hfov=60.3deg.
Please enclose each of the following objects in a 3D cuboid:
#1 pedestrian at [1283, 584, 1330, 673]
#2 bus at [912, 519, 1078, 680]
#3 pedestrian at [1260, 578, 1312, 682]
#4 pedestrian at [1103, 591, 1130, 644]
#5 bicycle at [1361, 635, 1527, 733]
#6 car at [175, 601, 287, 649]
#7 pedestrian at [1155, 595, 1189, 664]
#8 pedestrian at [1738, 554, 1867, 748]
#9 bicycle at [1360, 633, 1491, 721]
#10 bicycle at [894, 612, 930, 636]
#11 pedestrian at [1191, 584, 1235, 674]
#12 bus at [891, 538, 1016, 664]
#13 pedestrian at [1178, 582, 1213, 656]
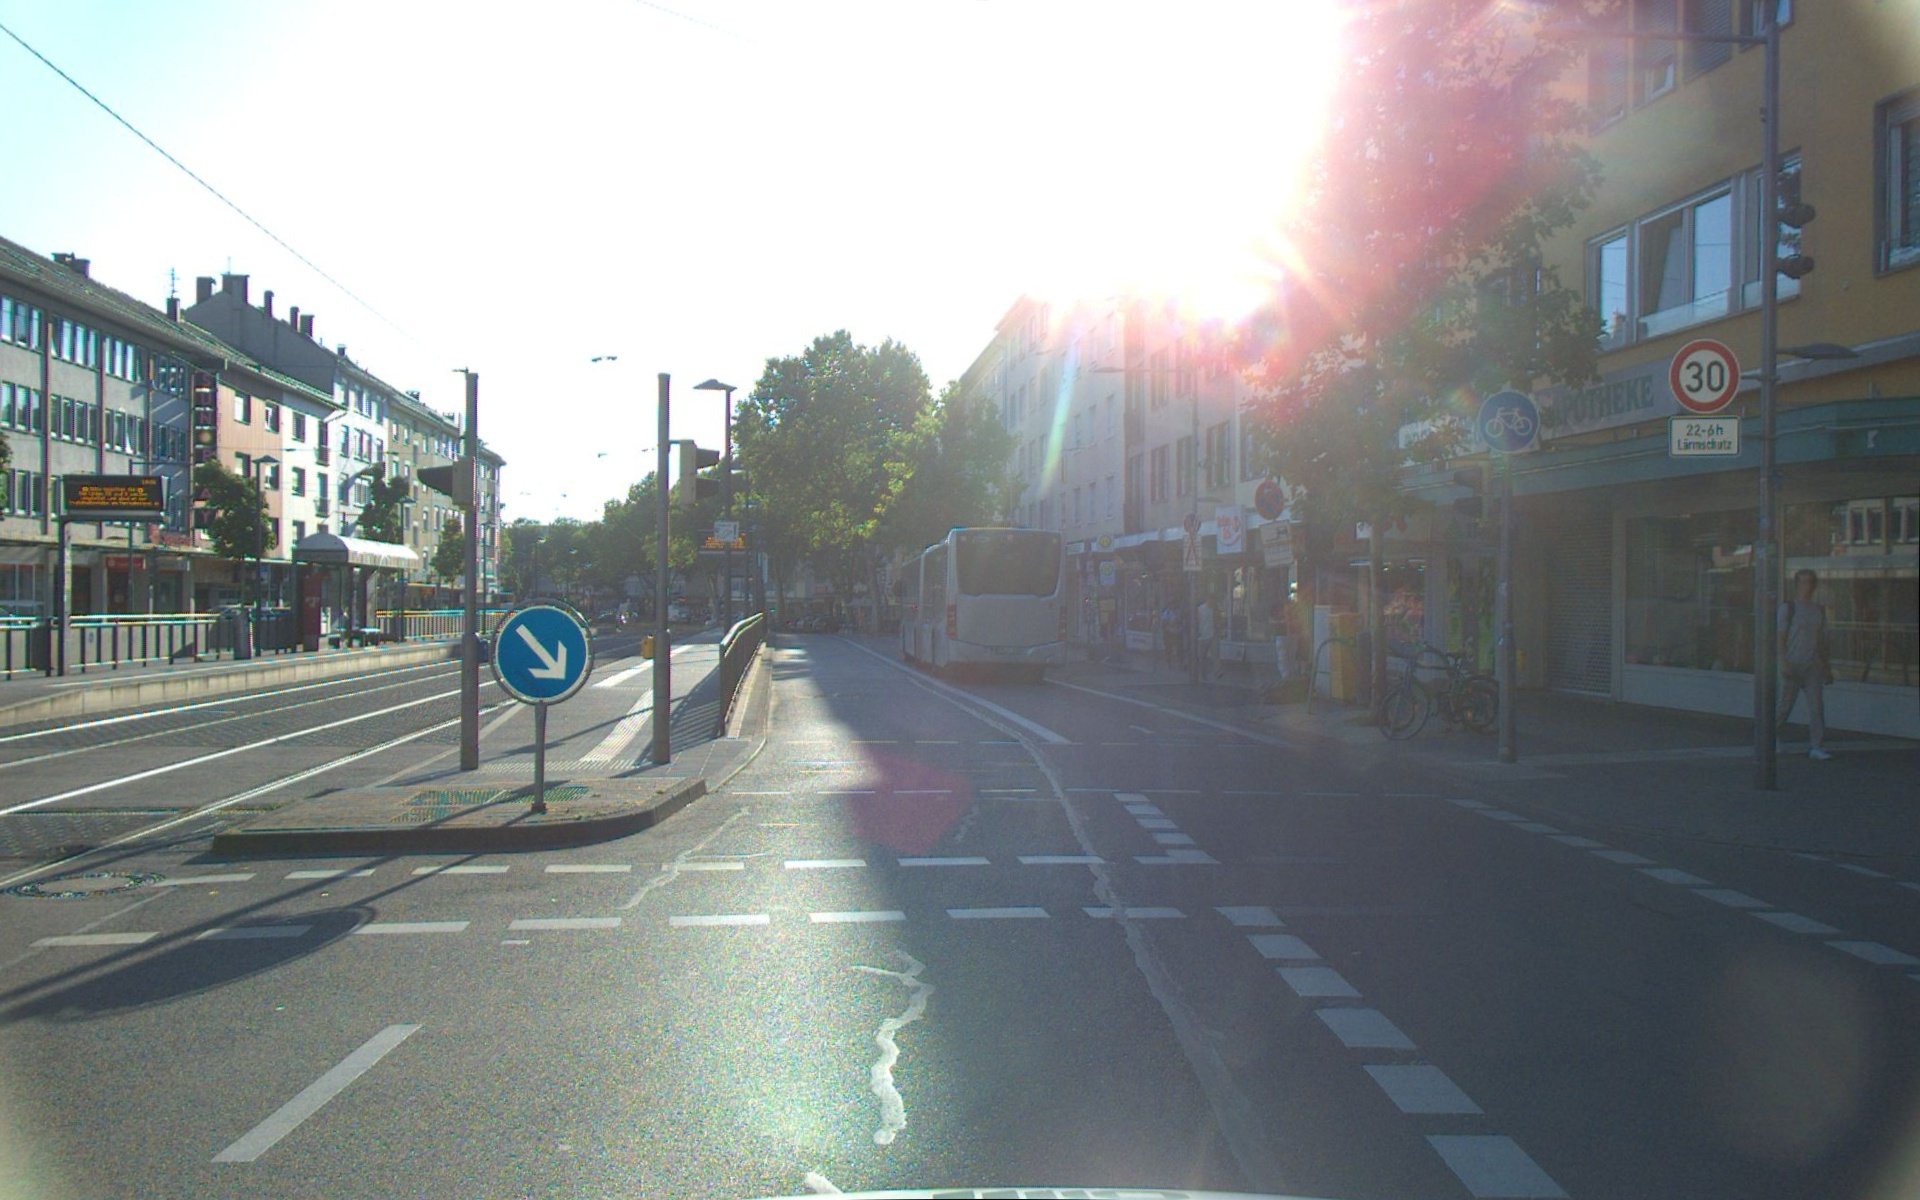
[{"bbox_3d":[6.907,0.567,33.032,0.709,1.753,0.765,0,-1,-7],"label":"pedestrian"},{"bbox_3d":[0.567,0.014,37.637,2.644,3.173,9.369,1,0,-6],"label":"bus"},{"bbox_3d":[5.856,0.534,29.734,0.709,1.838,0.765,0,-1,-7],"label":"pedestrian"},{"bbox_3d":[4.925,0.555,52.162,0.709,1.661,0.765,0,0,-6],"label":"pedestrian"},{"bbox_3d":[5.597,0.956,19.135,1.765,1.026,0.540,-2,0,-10],"label":"bicycle"},{"bbox_3d":[-27.355,0.909,62.158,1.733,1.709,3.503,0,0,31],"label":"car"},{"bbox_3d":[4.973,0.694,38.809,0.598,1.606,0.850,0,-1,-6],"label":"pedestrian"},{"bbox_3d":[8.116,0.481,15.969,0.729,1.811,0.893,0,-1,-6],"label":"pedestrian"},{"bbox_3d":[5.560,0.912,19.752,1.455,1.026,0.453,0,0,-10],"label":"bicycle"},{"bbox_3d":[-2.587,1.280,88.328,1.850,1.096,0.754,-4,0,-3],"label":"bicycle"},{"bbox_3d":[5.150,0.590,33.740,0.709,1.810,0.765,0,-1,-7],"label":"pedestrian"},{"bbox_3d":[-0.336,0.035,46.776,2.644,3.173,9.058,1,0,-6],"label":"bus"},{"bbox_3d":[5.963,0.480,41.889,0.709,1.872,0.765,0,-1,-7],"label":"pedestrian"}]
